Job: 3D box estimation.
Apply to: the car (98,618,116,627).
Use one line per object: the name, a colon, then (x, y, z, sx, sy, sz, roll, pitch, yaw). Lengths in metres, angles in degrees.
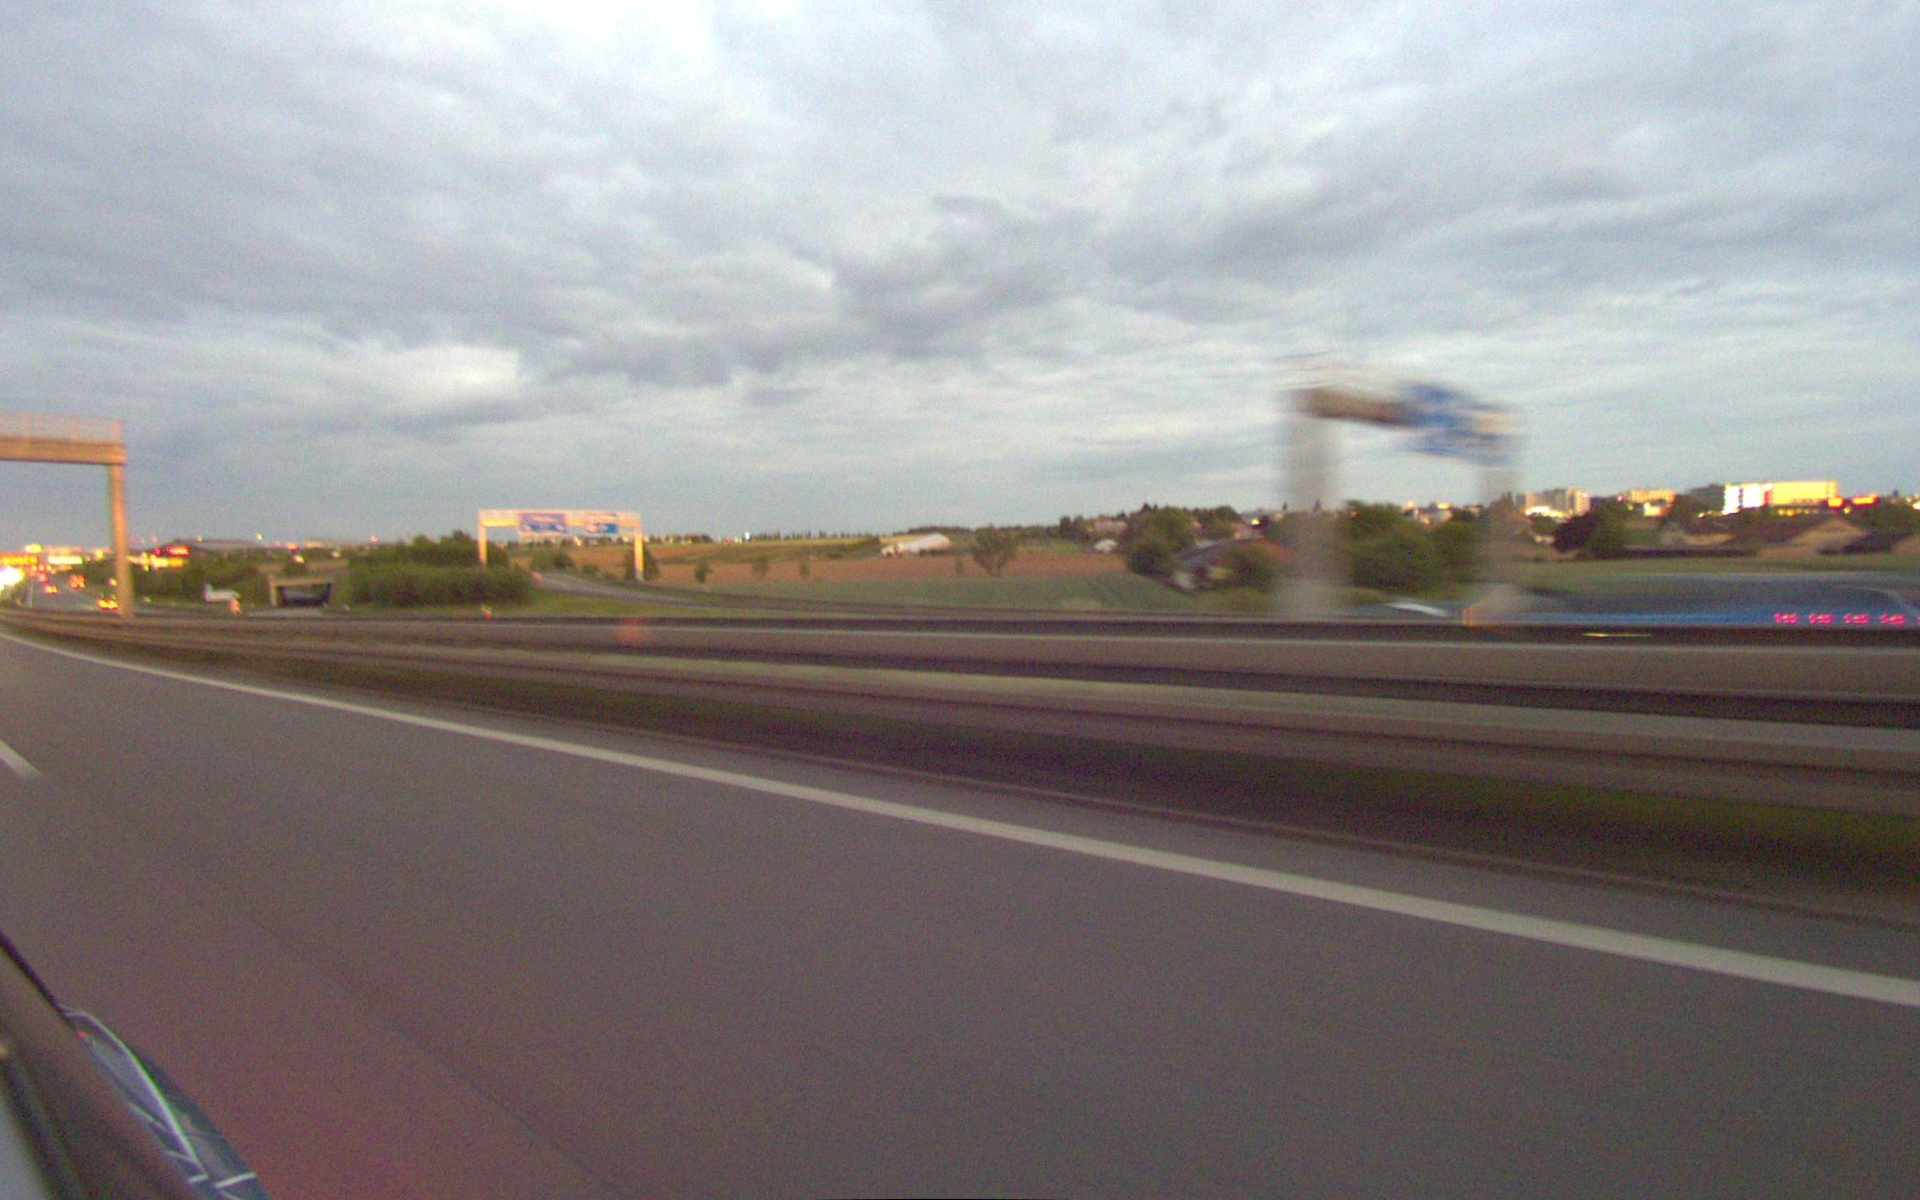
car: (-137.565, 3.585, 163.128, 1.970, 1.414, 4.334, -2, 1, -43)

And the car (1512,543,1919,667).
car: (10.032, 0.087, 12.985, 4.861, 1.368, 1.973, -2, -1, 40)
